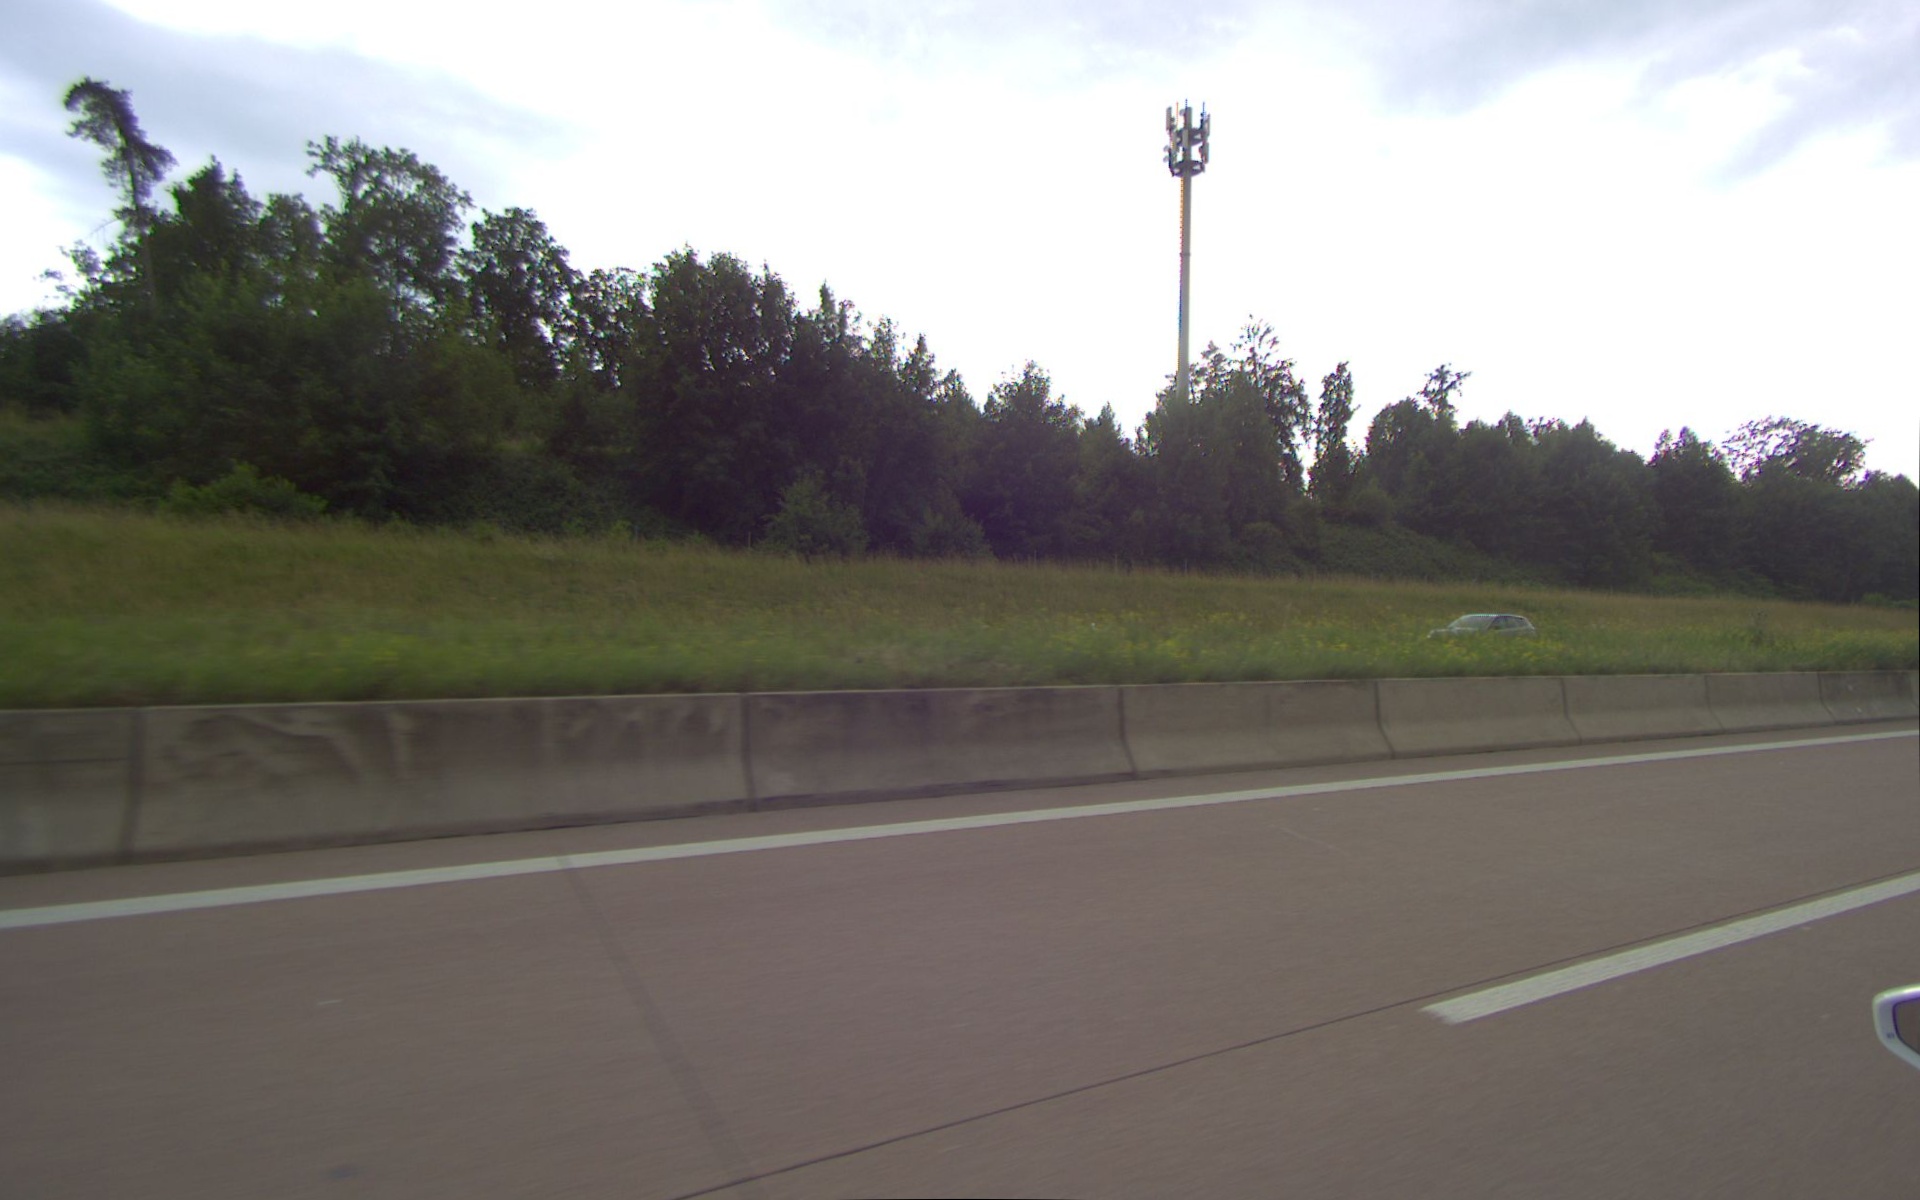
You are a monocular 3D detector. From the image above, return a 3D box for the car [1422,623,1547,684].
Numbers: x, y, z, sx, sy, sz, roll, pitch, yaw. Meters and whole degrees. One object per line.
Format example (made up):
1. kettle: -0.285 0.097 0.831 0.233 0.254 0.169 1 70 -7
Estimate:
1. car: 18.049 1.852 34.516 4.071 1.870 1.824 4 -1 -29
